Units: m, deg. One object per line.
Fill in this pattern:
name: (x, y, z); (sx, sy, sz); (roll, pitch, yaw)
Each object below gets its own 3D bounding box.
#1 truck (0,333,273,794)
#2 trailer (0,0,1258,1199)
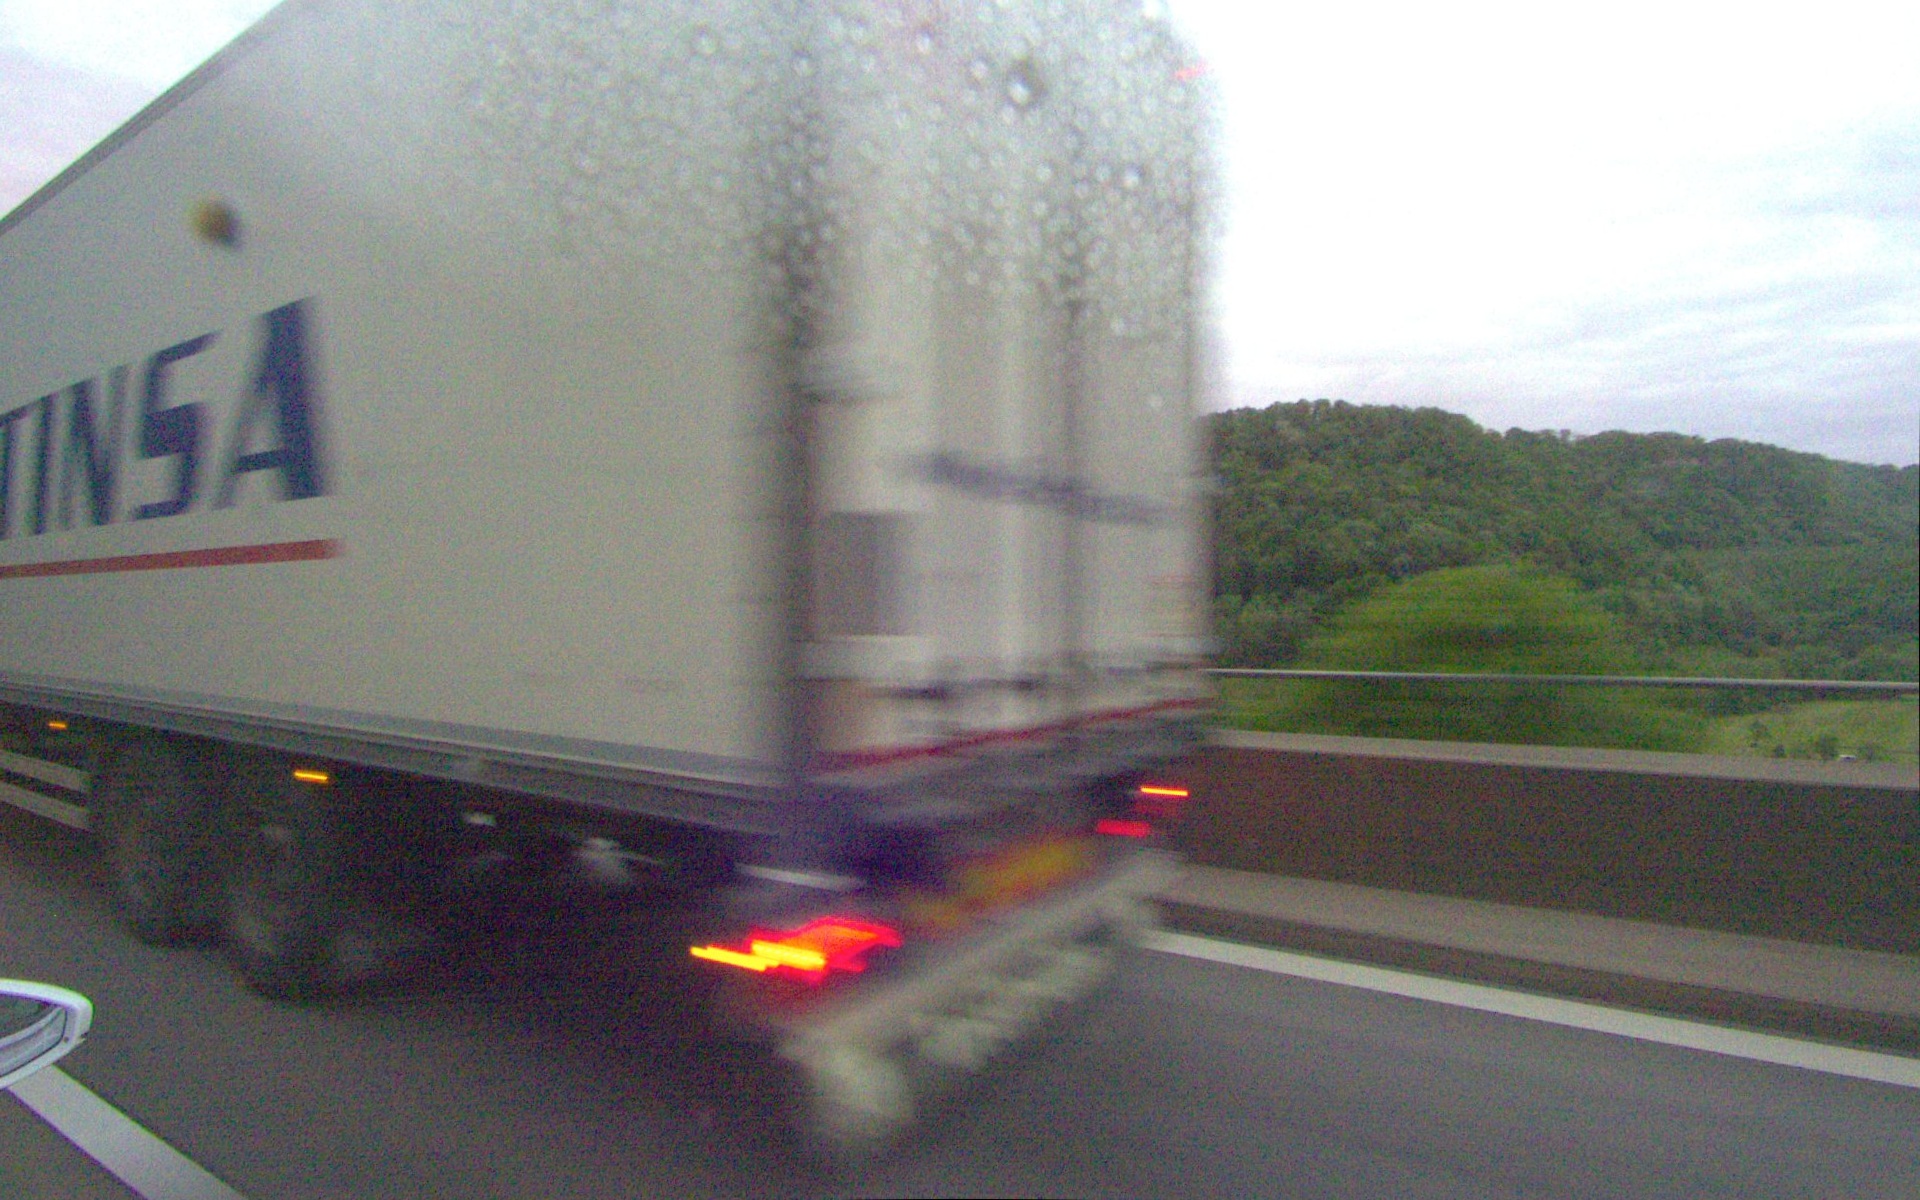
truck: (-10.990, -0.239, 11.461); (6.360, 4.196, 3.062); (-1, -3, 35)
trailer: (-5.237, -0.317, 7.365); (14.023, 4.022, 3.089); (-1, 0, 35)
